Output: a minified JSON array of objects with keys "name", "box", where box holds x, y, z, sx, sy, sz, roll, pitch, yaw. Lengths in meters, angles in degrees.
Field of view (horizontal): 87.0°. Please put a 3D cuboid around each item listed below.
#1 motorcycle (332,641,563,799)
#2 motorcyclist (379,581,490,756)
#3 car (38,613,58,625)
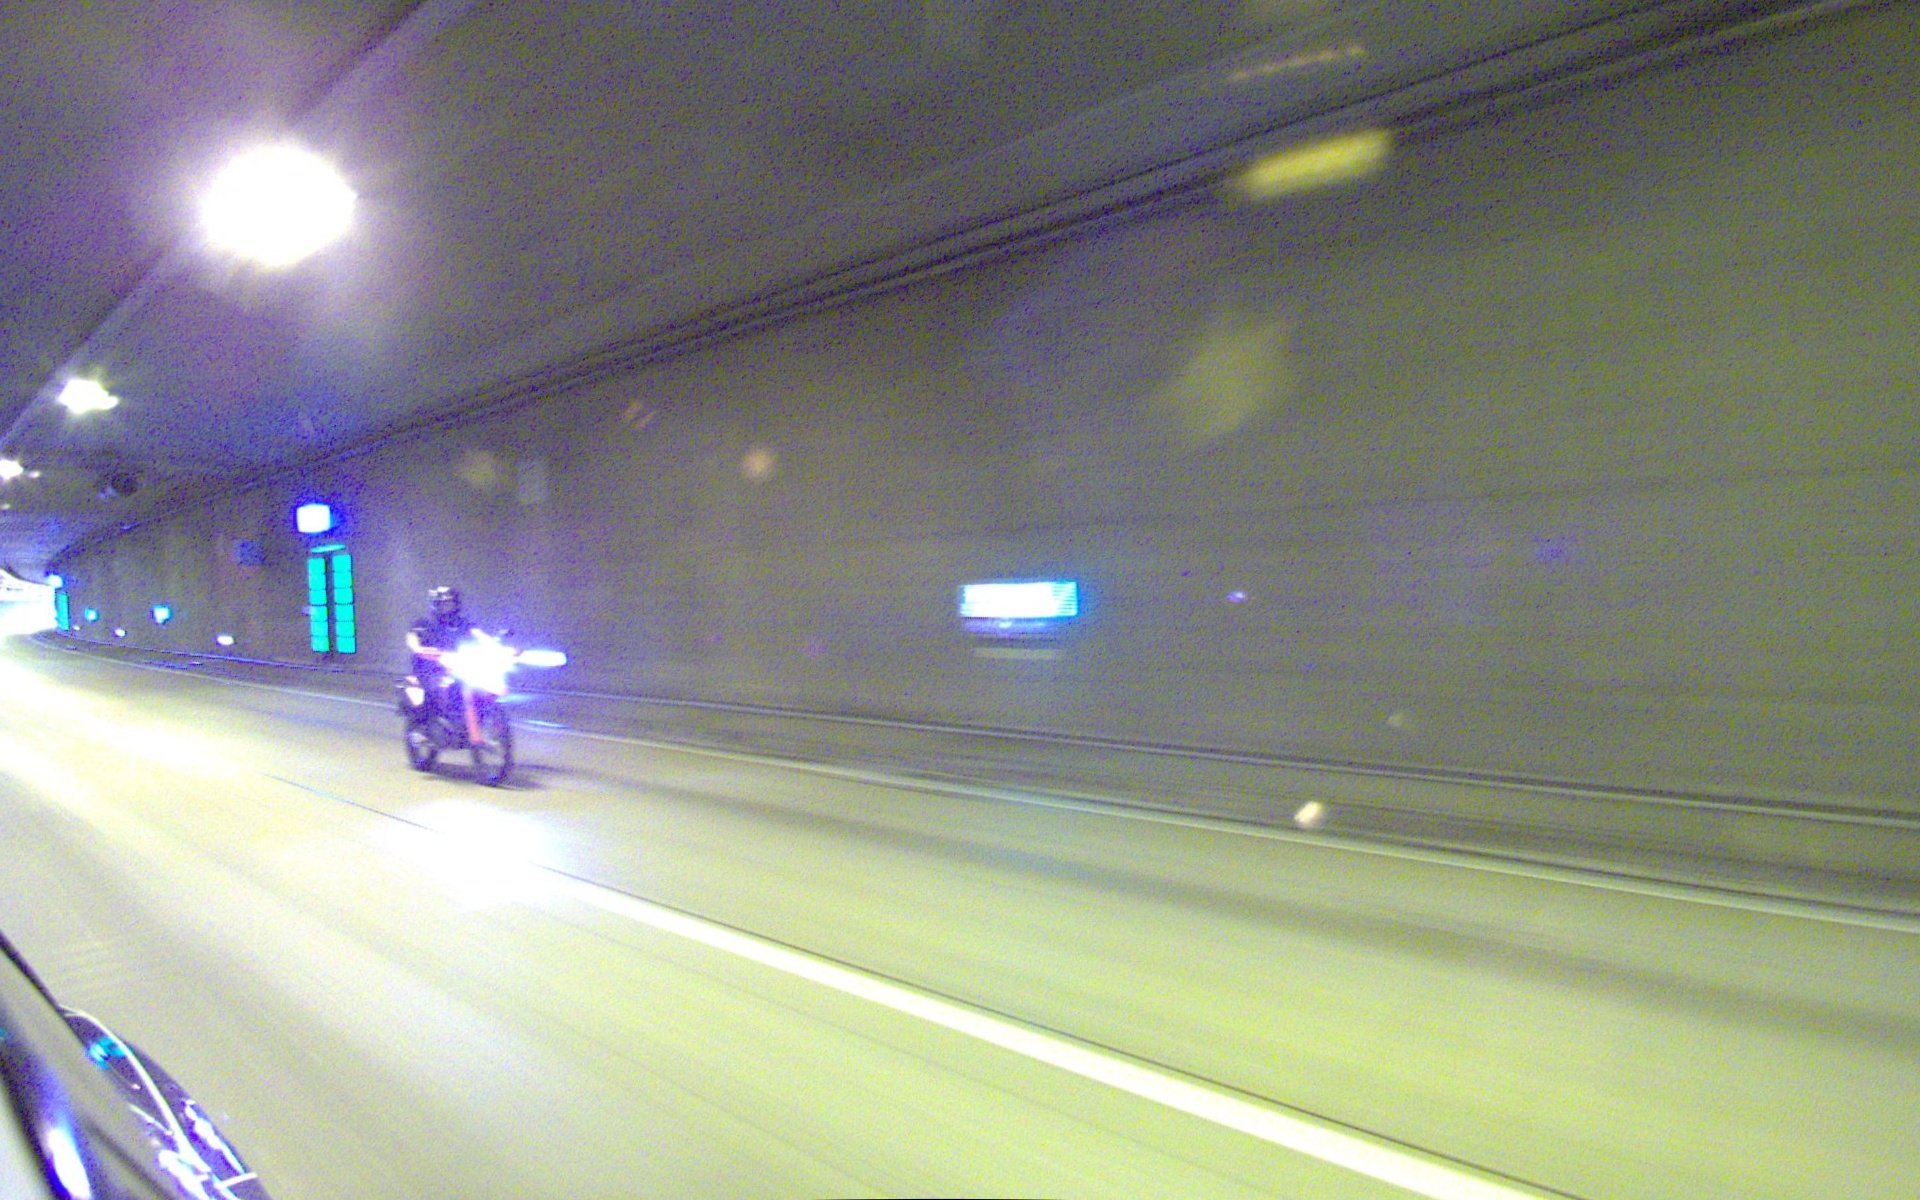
[{"name":"motorcycle","box":[-4.661,0.987,9.117,2.427,1.166,1.042,-1,-1,42]},{"name":"motorcyclist","box":[-4.796,0.596,9.231,0.890,1.500,0.620,-1,-1,41]},{"name":"car","box":[-148.691,3.035,165.015,1.968,1.812,4.008,-1,0,-37]}]
